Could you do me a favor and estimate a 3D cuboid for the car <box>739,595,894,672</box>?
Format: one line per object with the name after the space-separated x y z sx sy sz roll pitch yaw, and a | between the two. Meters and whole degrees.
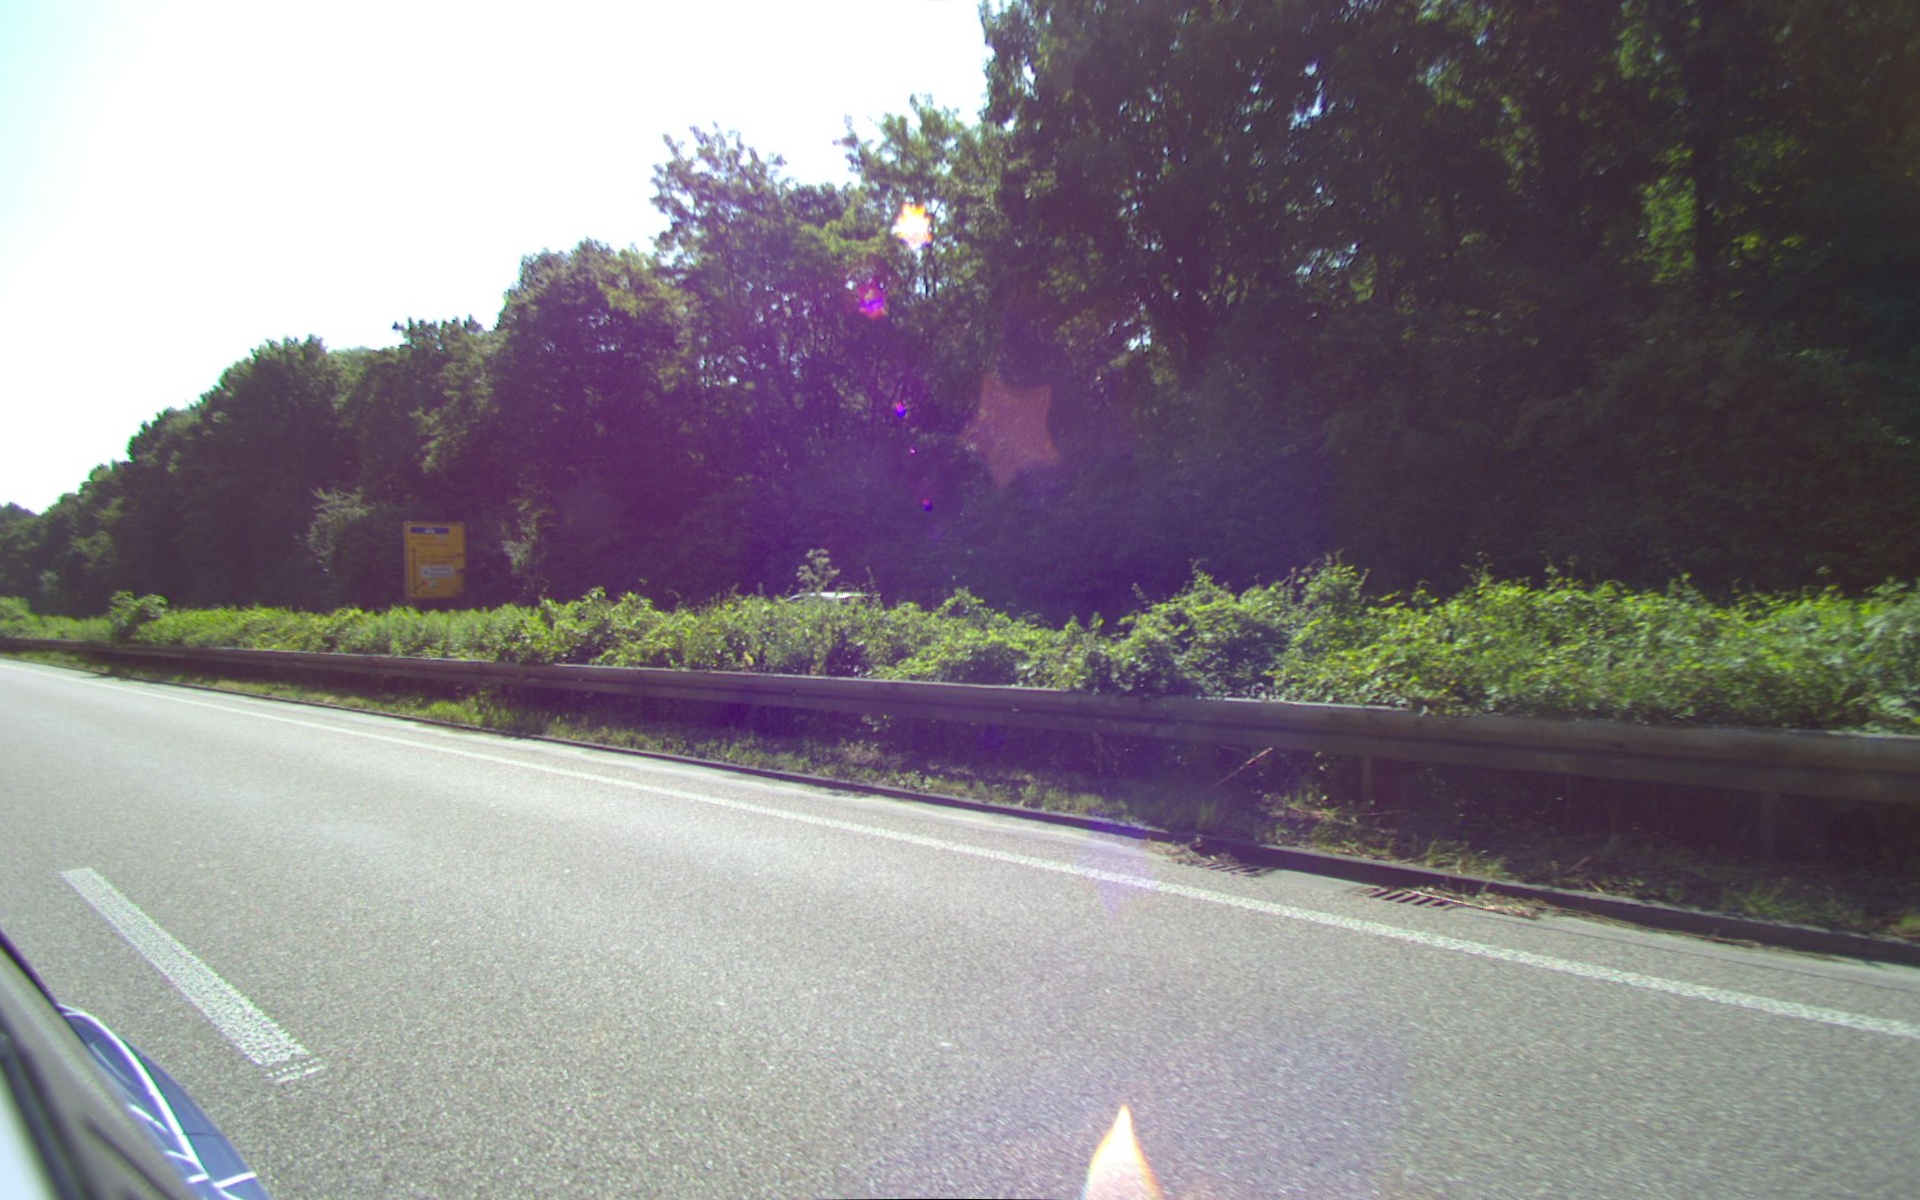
-3.222 0.712 22.410 3.382 1.578 1.533 -1 -1 40 | car
